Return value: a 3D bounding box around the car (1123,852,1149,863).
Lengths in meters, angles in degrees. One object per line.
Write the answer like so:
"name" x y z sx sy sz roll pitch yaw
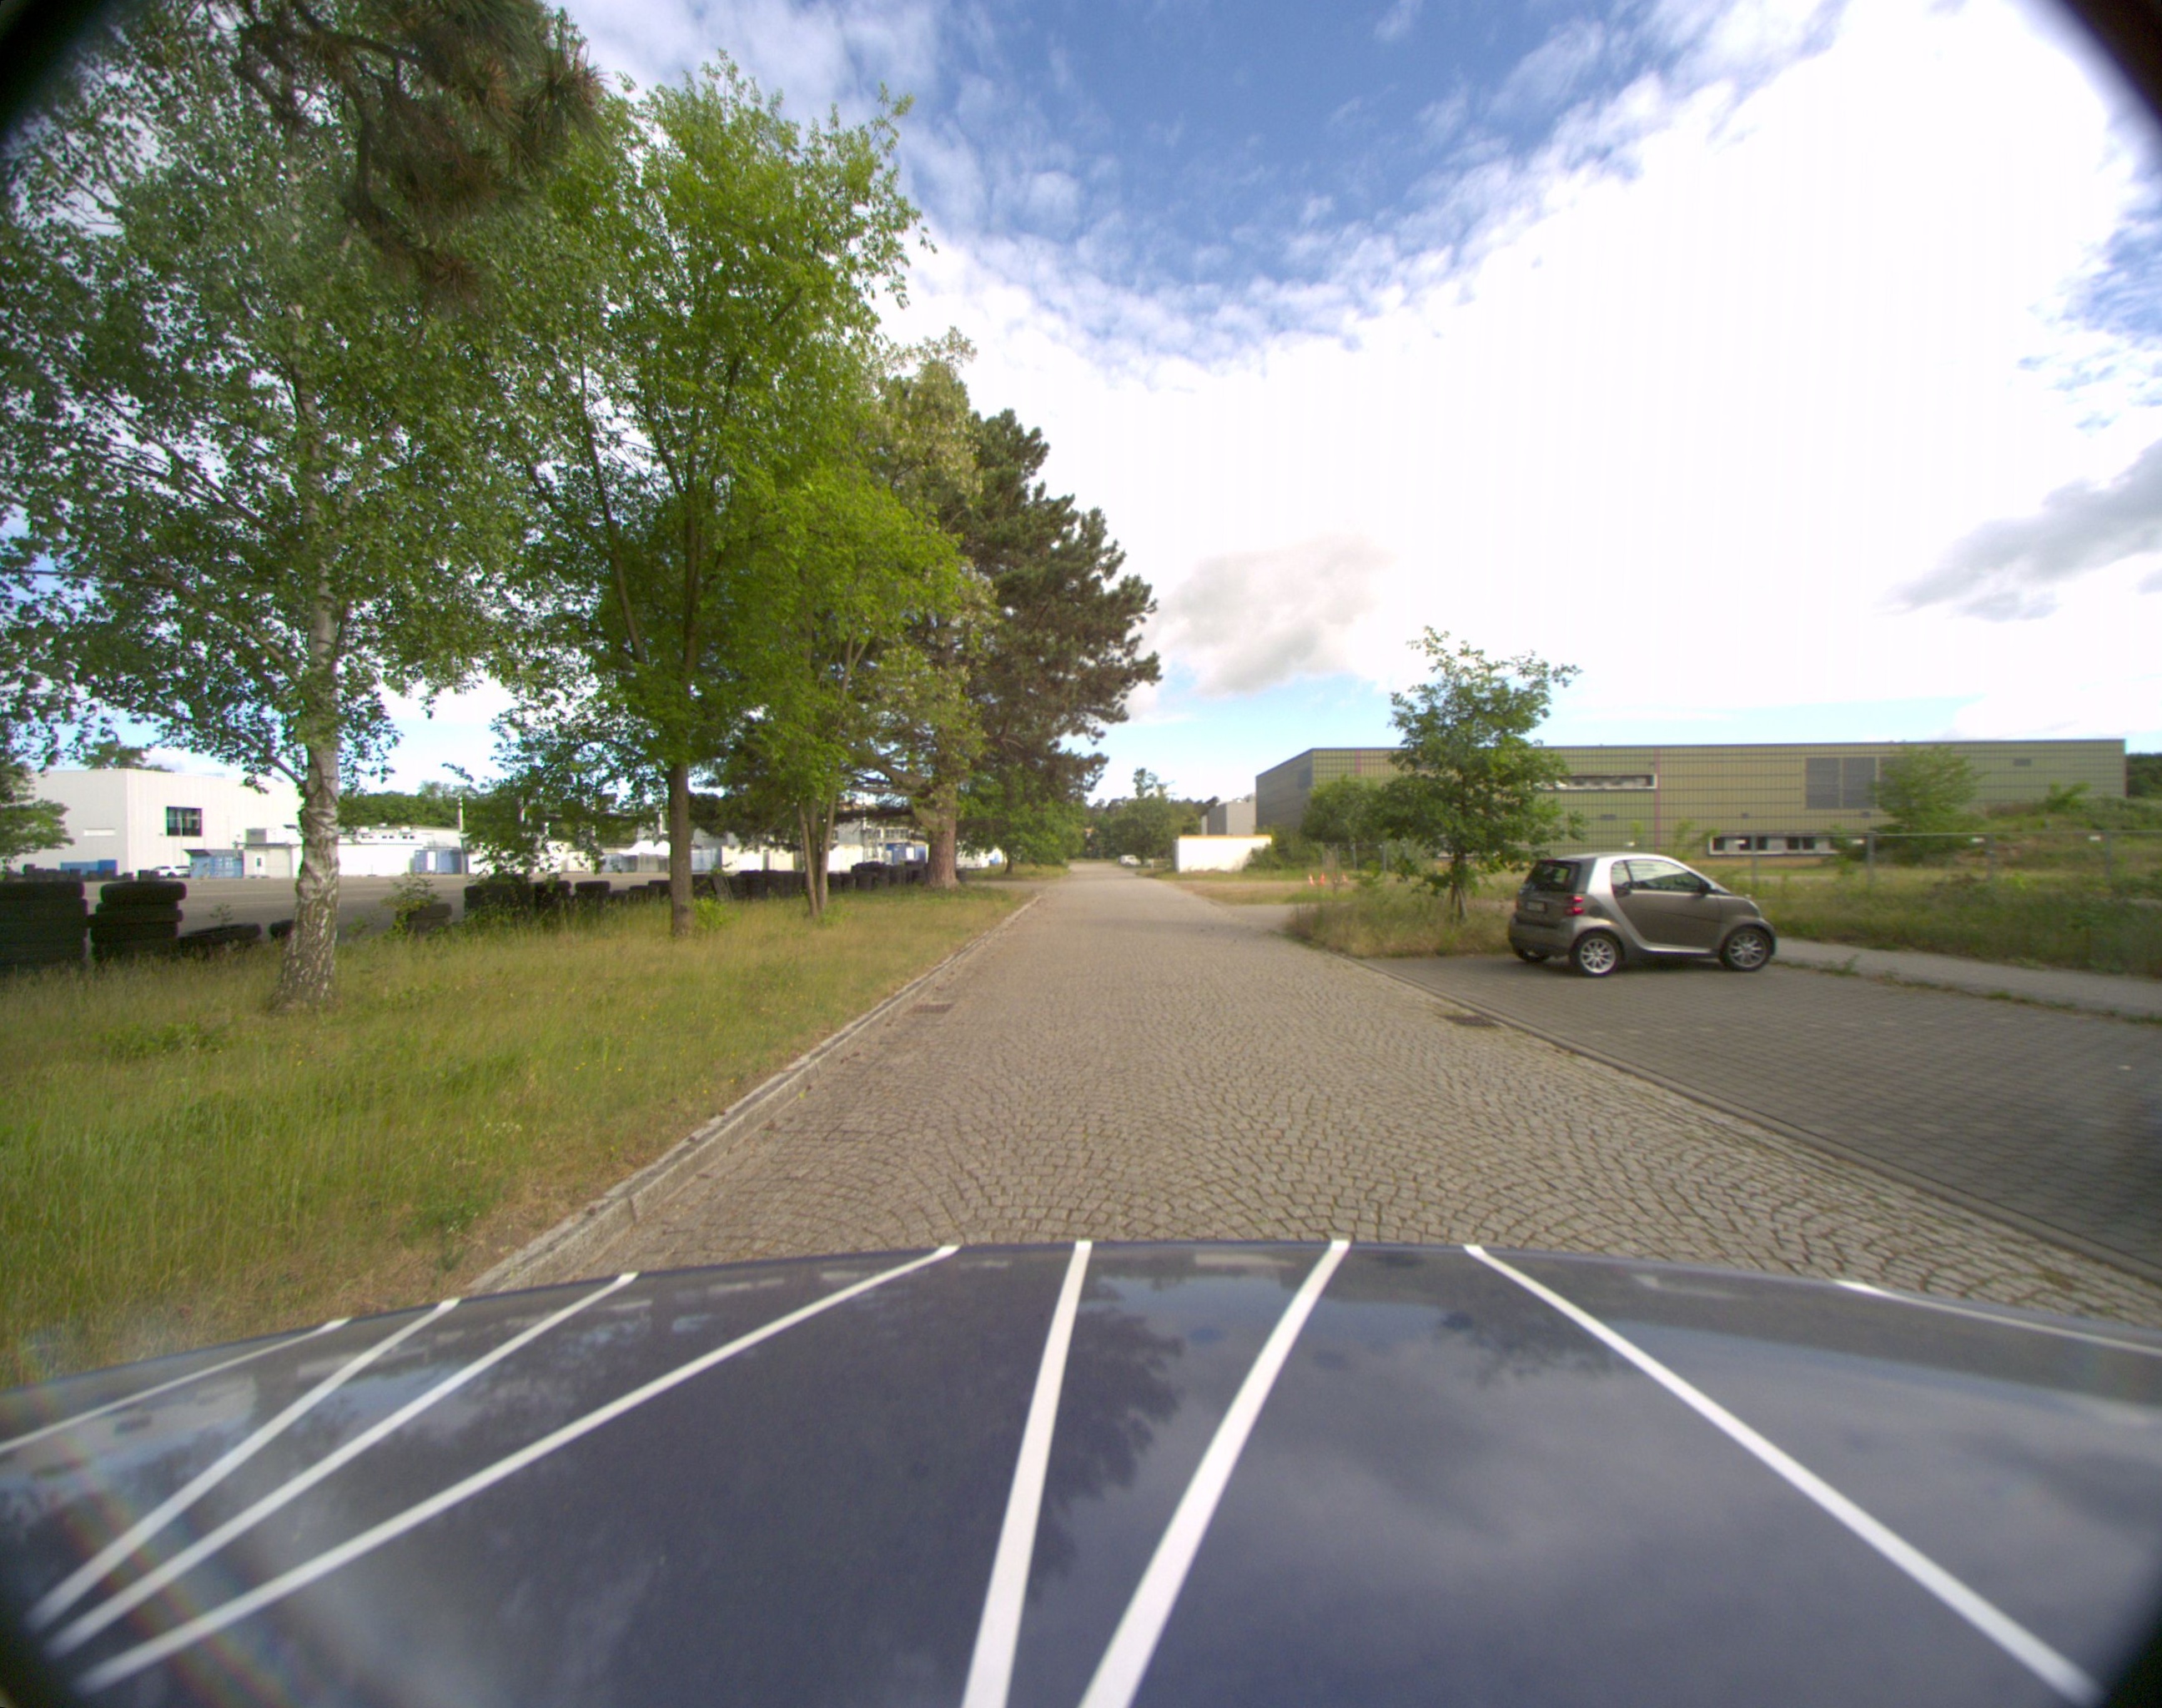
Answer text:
"car" 8.454 0.511 117.317 3.996 1.604 1.797 0 0 4

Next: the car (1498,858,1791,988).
"car" 7.333 0.849 10.095 2.661 1.502 1.610 -2 0 0

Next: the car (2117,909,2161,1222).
"car" 7.128 0.909 2.820 4.317 1.420 1.773 -2 0 -2
